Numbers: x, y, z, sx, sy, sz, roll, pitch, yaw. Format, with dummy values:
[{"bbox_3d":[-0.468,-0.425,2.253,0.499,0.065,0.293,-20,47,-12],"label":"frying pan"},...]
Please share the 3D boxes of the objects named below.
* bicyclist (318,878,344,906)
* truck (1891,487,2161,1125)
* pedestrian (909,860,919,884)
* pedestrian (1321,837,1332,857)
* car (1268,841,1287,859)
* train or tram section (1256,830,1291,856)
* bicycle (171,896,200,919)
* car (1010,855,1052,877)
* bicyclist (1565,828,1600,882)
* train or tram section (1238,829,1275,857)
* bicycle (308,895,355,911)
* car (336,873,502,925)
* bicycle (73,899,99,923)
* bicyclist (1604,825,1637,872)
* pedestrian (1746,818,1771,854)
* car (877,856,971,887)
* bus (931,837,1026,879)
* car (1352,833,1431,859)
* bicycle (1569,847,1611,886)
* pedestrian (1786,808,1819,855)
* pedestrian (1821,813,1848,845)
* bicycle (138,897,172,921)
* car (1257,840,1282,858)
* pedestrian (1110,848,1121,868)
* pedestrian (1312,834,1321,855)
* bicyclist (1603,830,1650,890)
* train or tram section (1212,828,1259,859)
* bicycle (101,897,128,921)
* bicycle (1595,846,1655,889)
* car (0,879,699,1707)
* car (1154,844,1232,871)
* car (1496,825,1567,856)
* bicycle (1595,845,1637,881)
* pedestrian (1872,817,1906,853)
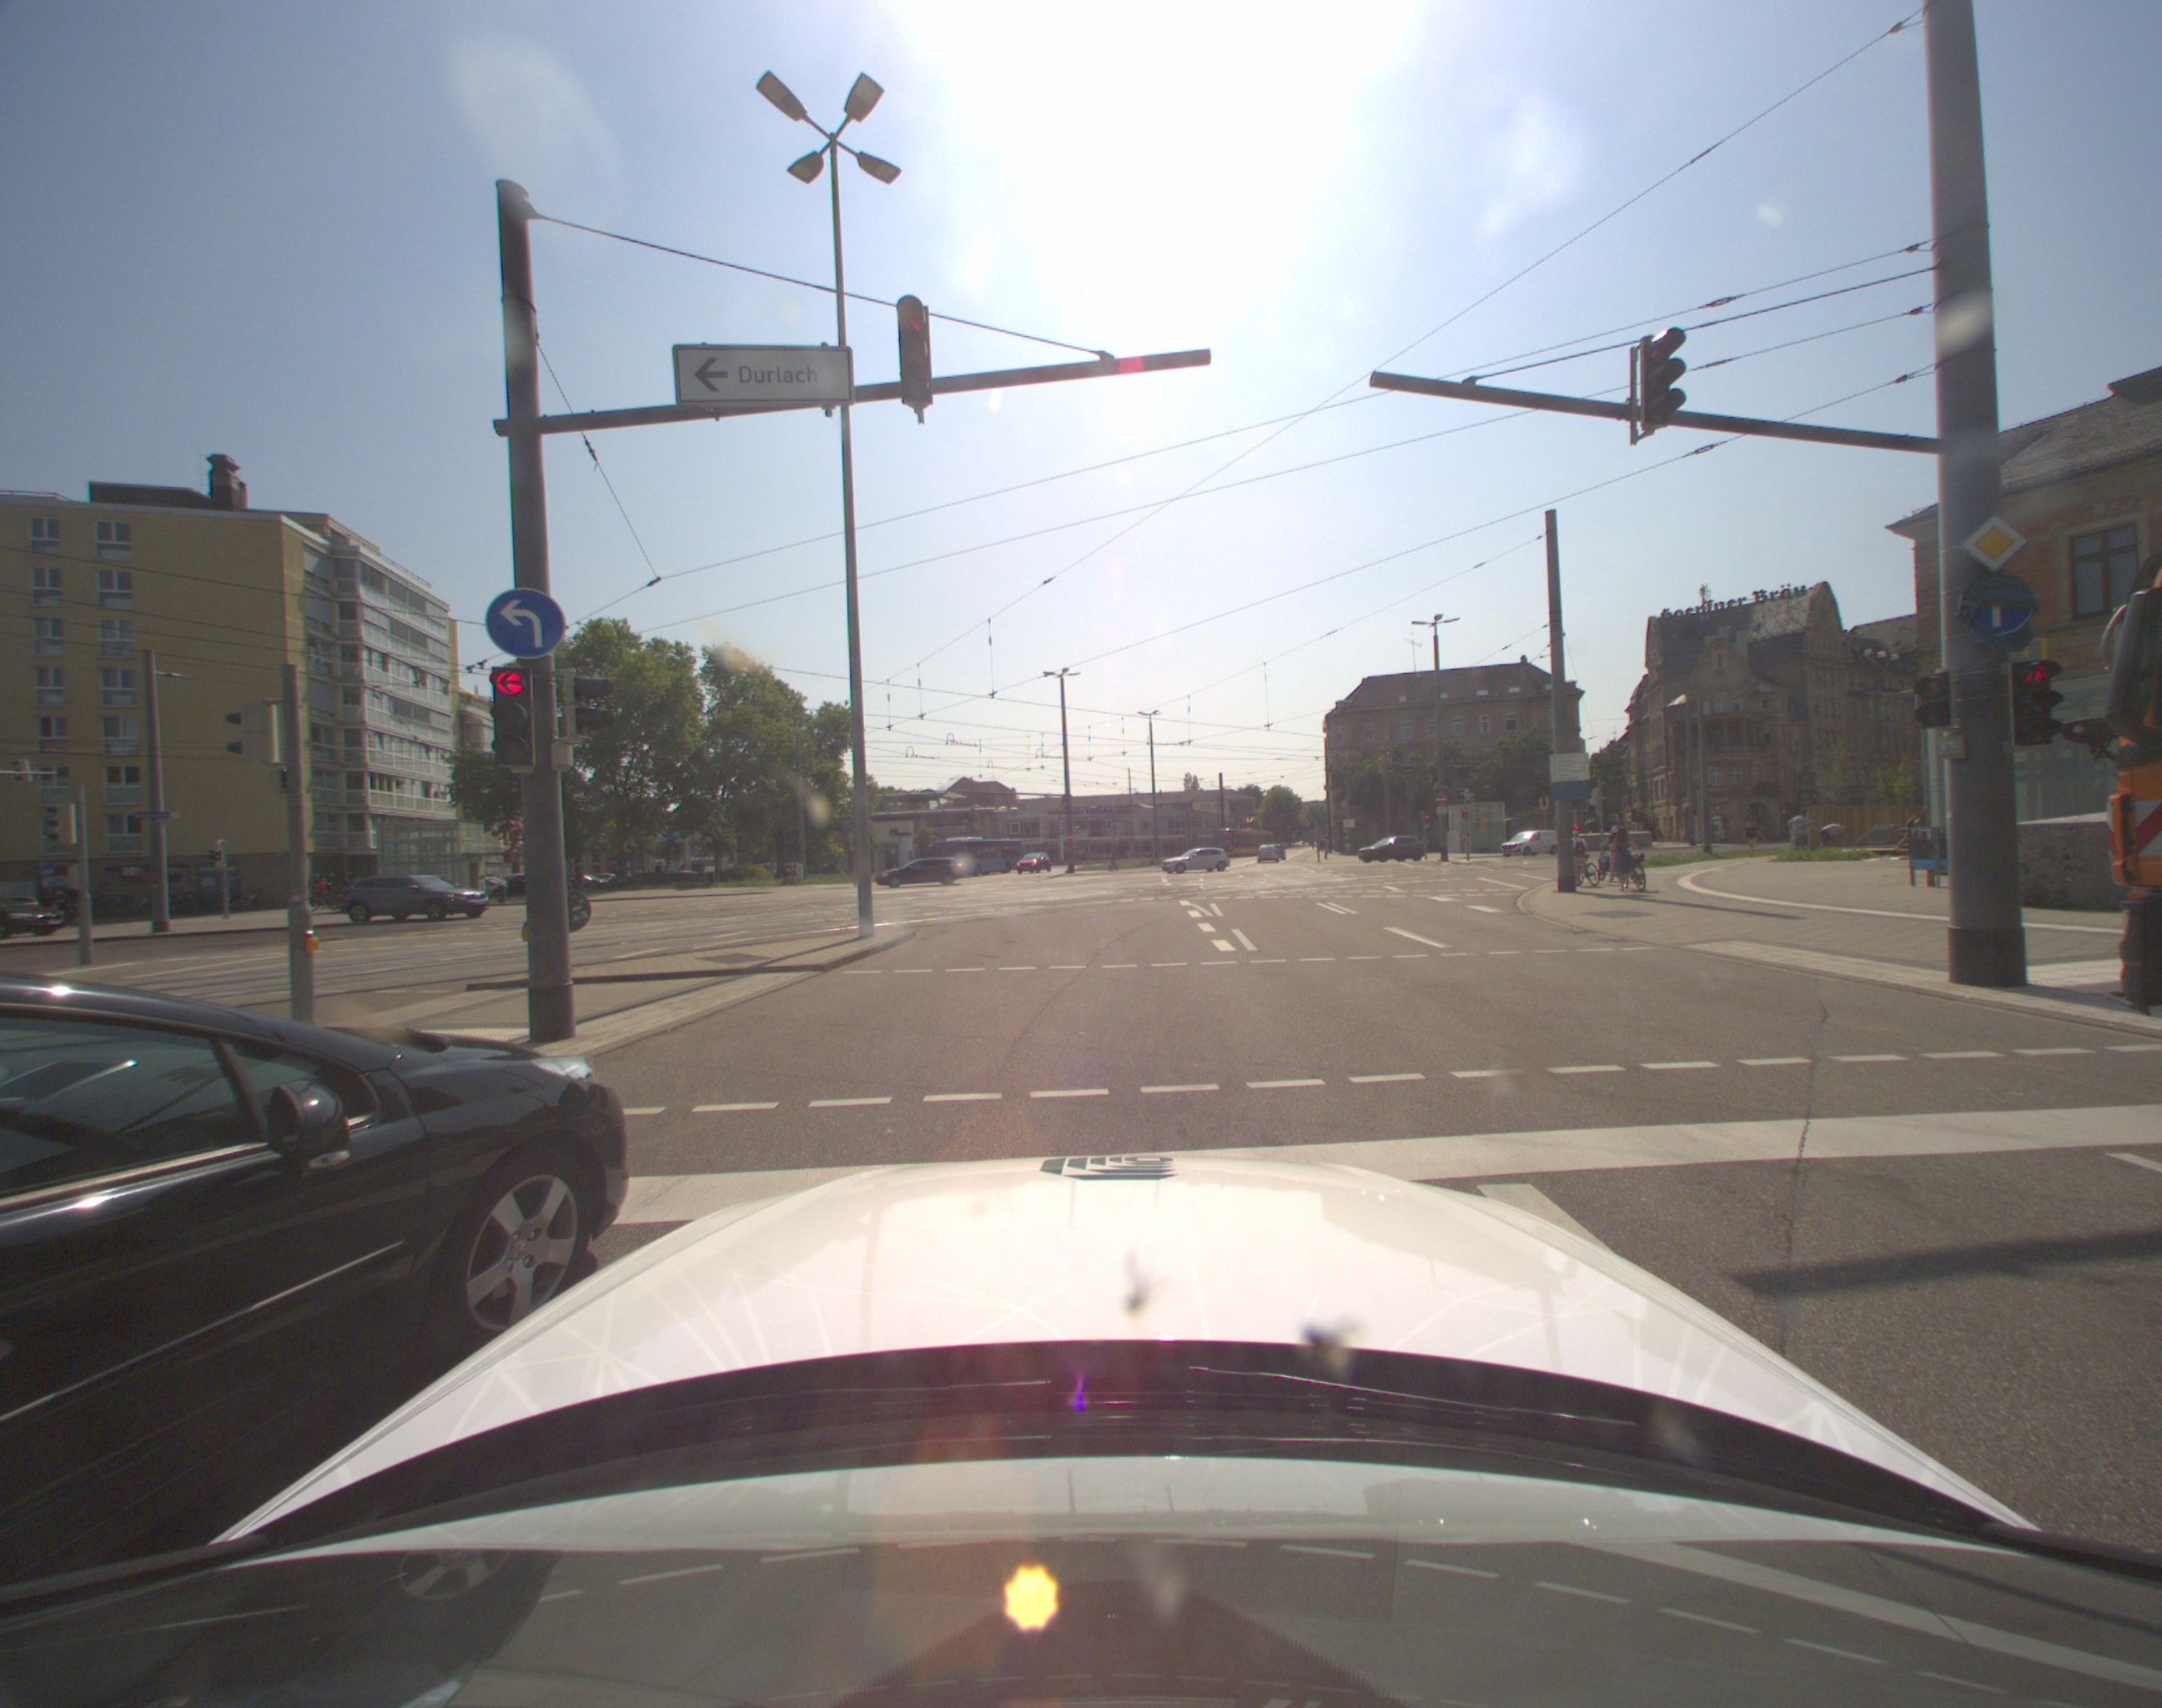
[{"bbox_3d":[-42.422,2.139,46.050,0.873,1.475,0.543,-2,0,-16],"label":"bicyclist"},{"bbox_3d":[6.401,-0.244,1.913,2.481,3.134,6.869,-1,0,4],"label":"truck"},{"bbox_3d":[-11.581,1.252,56.432,0.554,1.684,0.451,-2,0,-17],"label":"pedestrian"},{"bbox_3d":[20.507,-0.566,67.960,0.699,1.603,0.572,-2,0,-6],"label":"pedestrian"},{"bbox_3d":[18.324,-0.376,75.992,1.625,1.618,4.016,-2,0,14],"label":"car"},{"bbox_3d":[28.231,-1.616,118.891,2.565,3.516,13.046,-2,0,24],"label":"train or tram section"},{"bbox_3d":[-49.090,2.913,44.627,3.220,1.204,0.699,-3,0,36],"label":"bicycle"},{"bbox_3d":[-3.840,0.943,63.605,1.735,1.552,4.020,-3,0,20],"label":"car"},{"bbox_3d":[14.614,0.028,23.742,0.623,1.517,0.715,-2,0,14],"label":"bicyclist"},{"bbox_3d":[23.505,-1.462,108.531,2.564,3.516,9.715,-2,0,25],"label":"train or tram section"},{"bbox_3d":[-42.379,2.775,46.048,1.860,0.802,0.604,-2,0,-17],"label":"bicycle"},{"bbox_3d":[-23.738,1.591,29.298,4.510,1.600,1.773,-2,0,2],"label":"car"},{"bbox_3d":[-53.399,3.027,43.682,2.754,1.204,0.699,-3,0,36],"label":"bicycle"},{"bbox_3d":[16.261,-0.164,24.567,0.526,1.393,0.897,-2,0,14],"label":"bicyclist"},{"bbox_3d":[30.491,-0.814,36.645,0.794,1.575,0.729,-2,0,-44],"label":"pedestrian"},{"bbox_3d":[-8.424,0.909,43.732,4.766,1.415,1.765,-2,0,-18],"label":"car"},{"bbox_3d":[-8.126,0.209,66.990,2.541,3.082,12.082,-3,0,19],"label":"bus"},{"bbox_3d":[20.322,-0.502,53.324,4.624,1.505,1.987,-2,0,-19],"label":"car"},{"bbox_3d":[14.604,0.339,23.400,0.532,1.055,1.660,-2,0,14],"label":"bicycle"},{"bbox_3d":[27.131,-0.842,30.621,0.549,1.724,0.812,-2,0,-39],"label":"pedestrian"},{"bbox_3d":[29.522,-0.958,31.918,0.658,1.214,0.531,-2,0,30],"label":"pedestrian"},{"bbox_3d":[-50.396,2.992,44.304,3.220,1.204,0.916,-3,0,36],"label":"bicycle"},{"bbox_3d":[15.751,-0.423,67.983,1.757,1.415,4.206,-2,0,15],"label":"car"},{"bbox_3d":[2.488,0.284,59.104,0.678,1.443,0.364,-2,0,-15],"label":"pedestrian"},{"bbox_3d":[33.520,-1.383,115.990,0.978,3.017,0.977,-2,0,7],"label":"pedestrian"},{"bbox_3d":[14.118,0.149,21.091,0.730,1.517,0.665,-2,0,6],"label":"bicyclist"},{"bbox_3d":[18.955,-1.314,99.213,2.564,3.516,10.964,-2,0,27],"label":"train or tram section"},{"bbox_3d":[-52.104,2.977,43.895,3.220,1.204,0.699,-3,0,36],"label":"bicycle"},{"bbox_3d":[14.157,0.336,21.232,0.489,1.055,1.826,-2,0,7],"label":"bicycle"},{"bbox_3d":[-2.668,0.813,1.577,1.757,1.388,3.787,-1,0,6],"label":"car"},{"bbox_3d":[6.684,0.229,48.634,4.198,1.415,1.766,-2,0,-17],"label":"car"},{"bbox_3d":[31.922,-0.932,57.670,4.632,2.013,1.984,-2,0,-24],"label":"car"},{"bbox_3d":[16.368,0.257,24.926,0.532,1.055,1.660,-2,0,14],"label":"bicycle"},{"bbox_3d":[31.876,-0.743,32.120,0.768,1.399,0.687,-2,0,-23],"label":"pedestrian"}]
